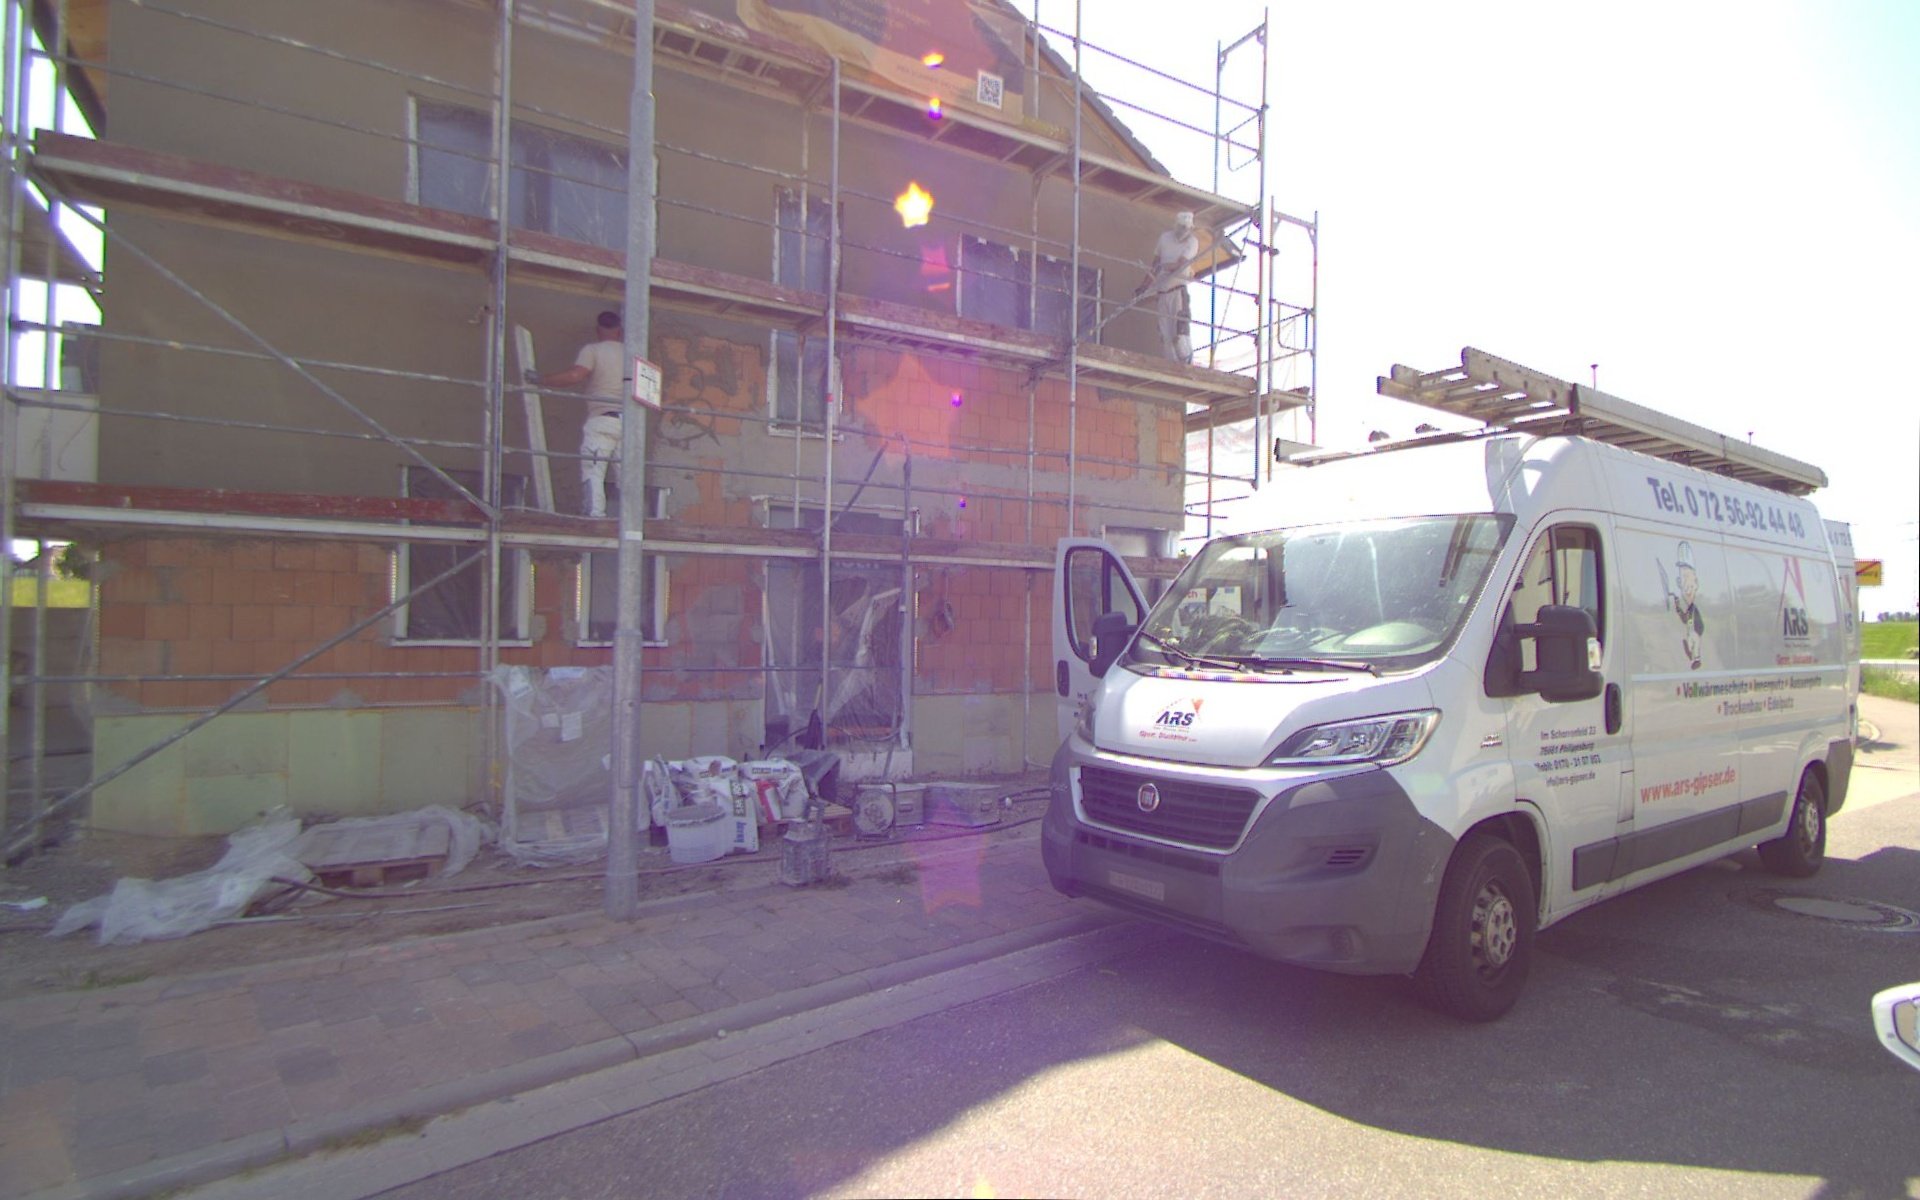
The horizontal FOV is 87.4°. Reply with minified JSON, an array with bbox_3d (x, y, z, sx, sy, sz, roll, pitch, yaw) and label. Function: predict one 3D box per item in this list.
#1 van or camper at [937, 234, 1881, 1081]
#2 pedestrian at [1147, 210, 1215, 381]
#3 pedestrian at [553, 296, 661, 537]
[{"bbox_3d":[3.089,0.289,5.877,6.308,2.587,2.257,2,-2,-37],"label":"van or camper"},{"bbox_3d":[2.354,-3.195,10.657,0.552,1.519,0.748,1,-3,23],"label":"pedestrian"},{"bbox_3d":[-2.807,-1.400,7.961,0.572,1.701,0.741,4,-3,-34],"label":"pedestrian"}]
